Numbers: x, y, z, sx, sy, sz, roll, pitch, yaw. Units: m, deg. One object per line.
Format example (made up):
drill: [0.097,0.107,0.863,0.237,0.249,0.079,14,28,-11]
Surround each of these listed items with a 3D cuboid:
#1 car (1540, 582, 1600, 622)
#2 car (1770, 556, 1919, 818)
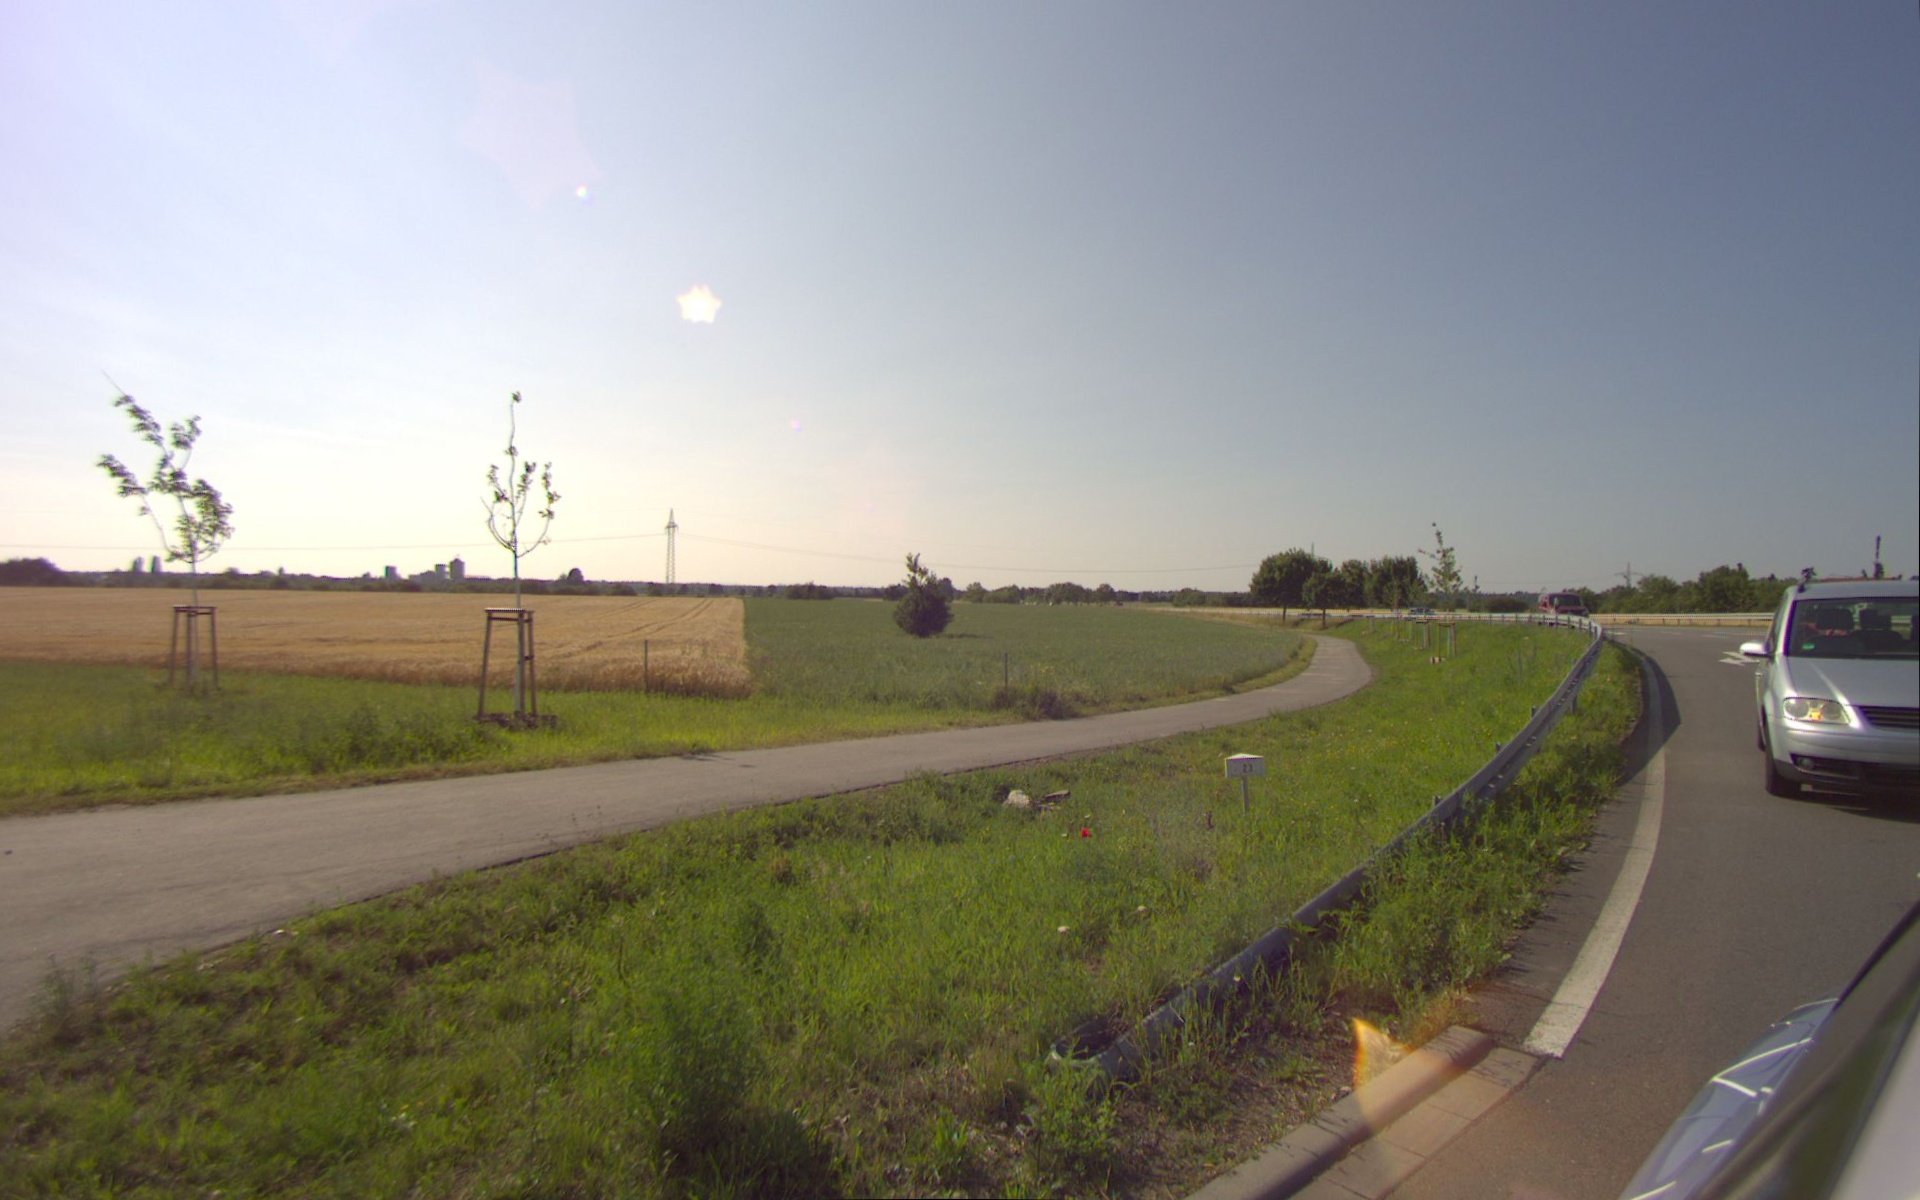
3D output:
car: [30.372,0.094,50.548,1.673,1.860,4.667,0,0,20]
car: [7.678,0.543,8.154,1.747,1.716,4.156,-2,0,39]
